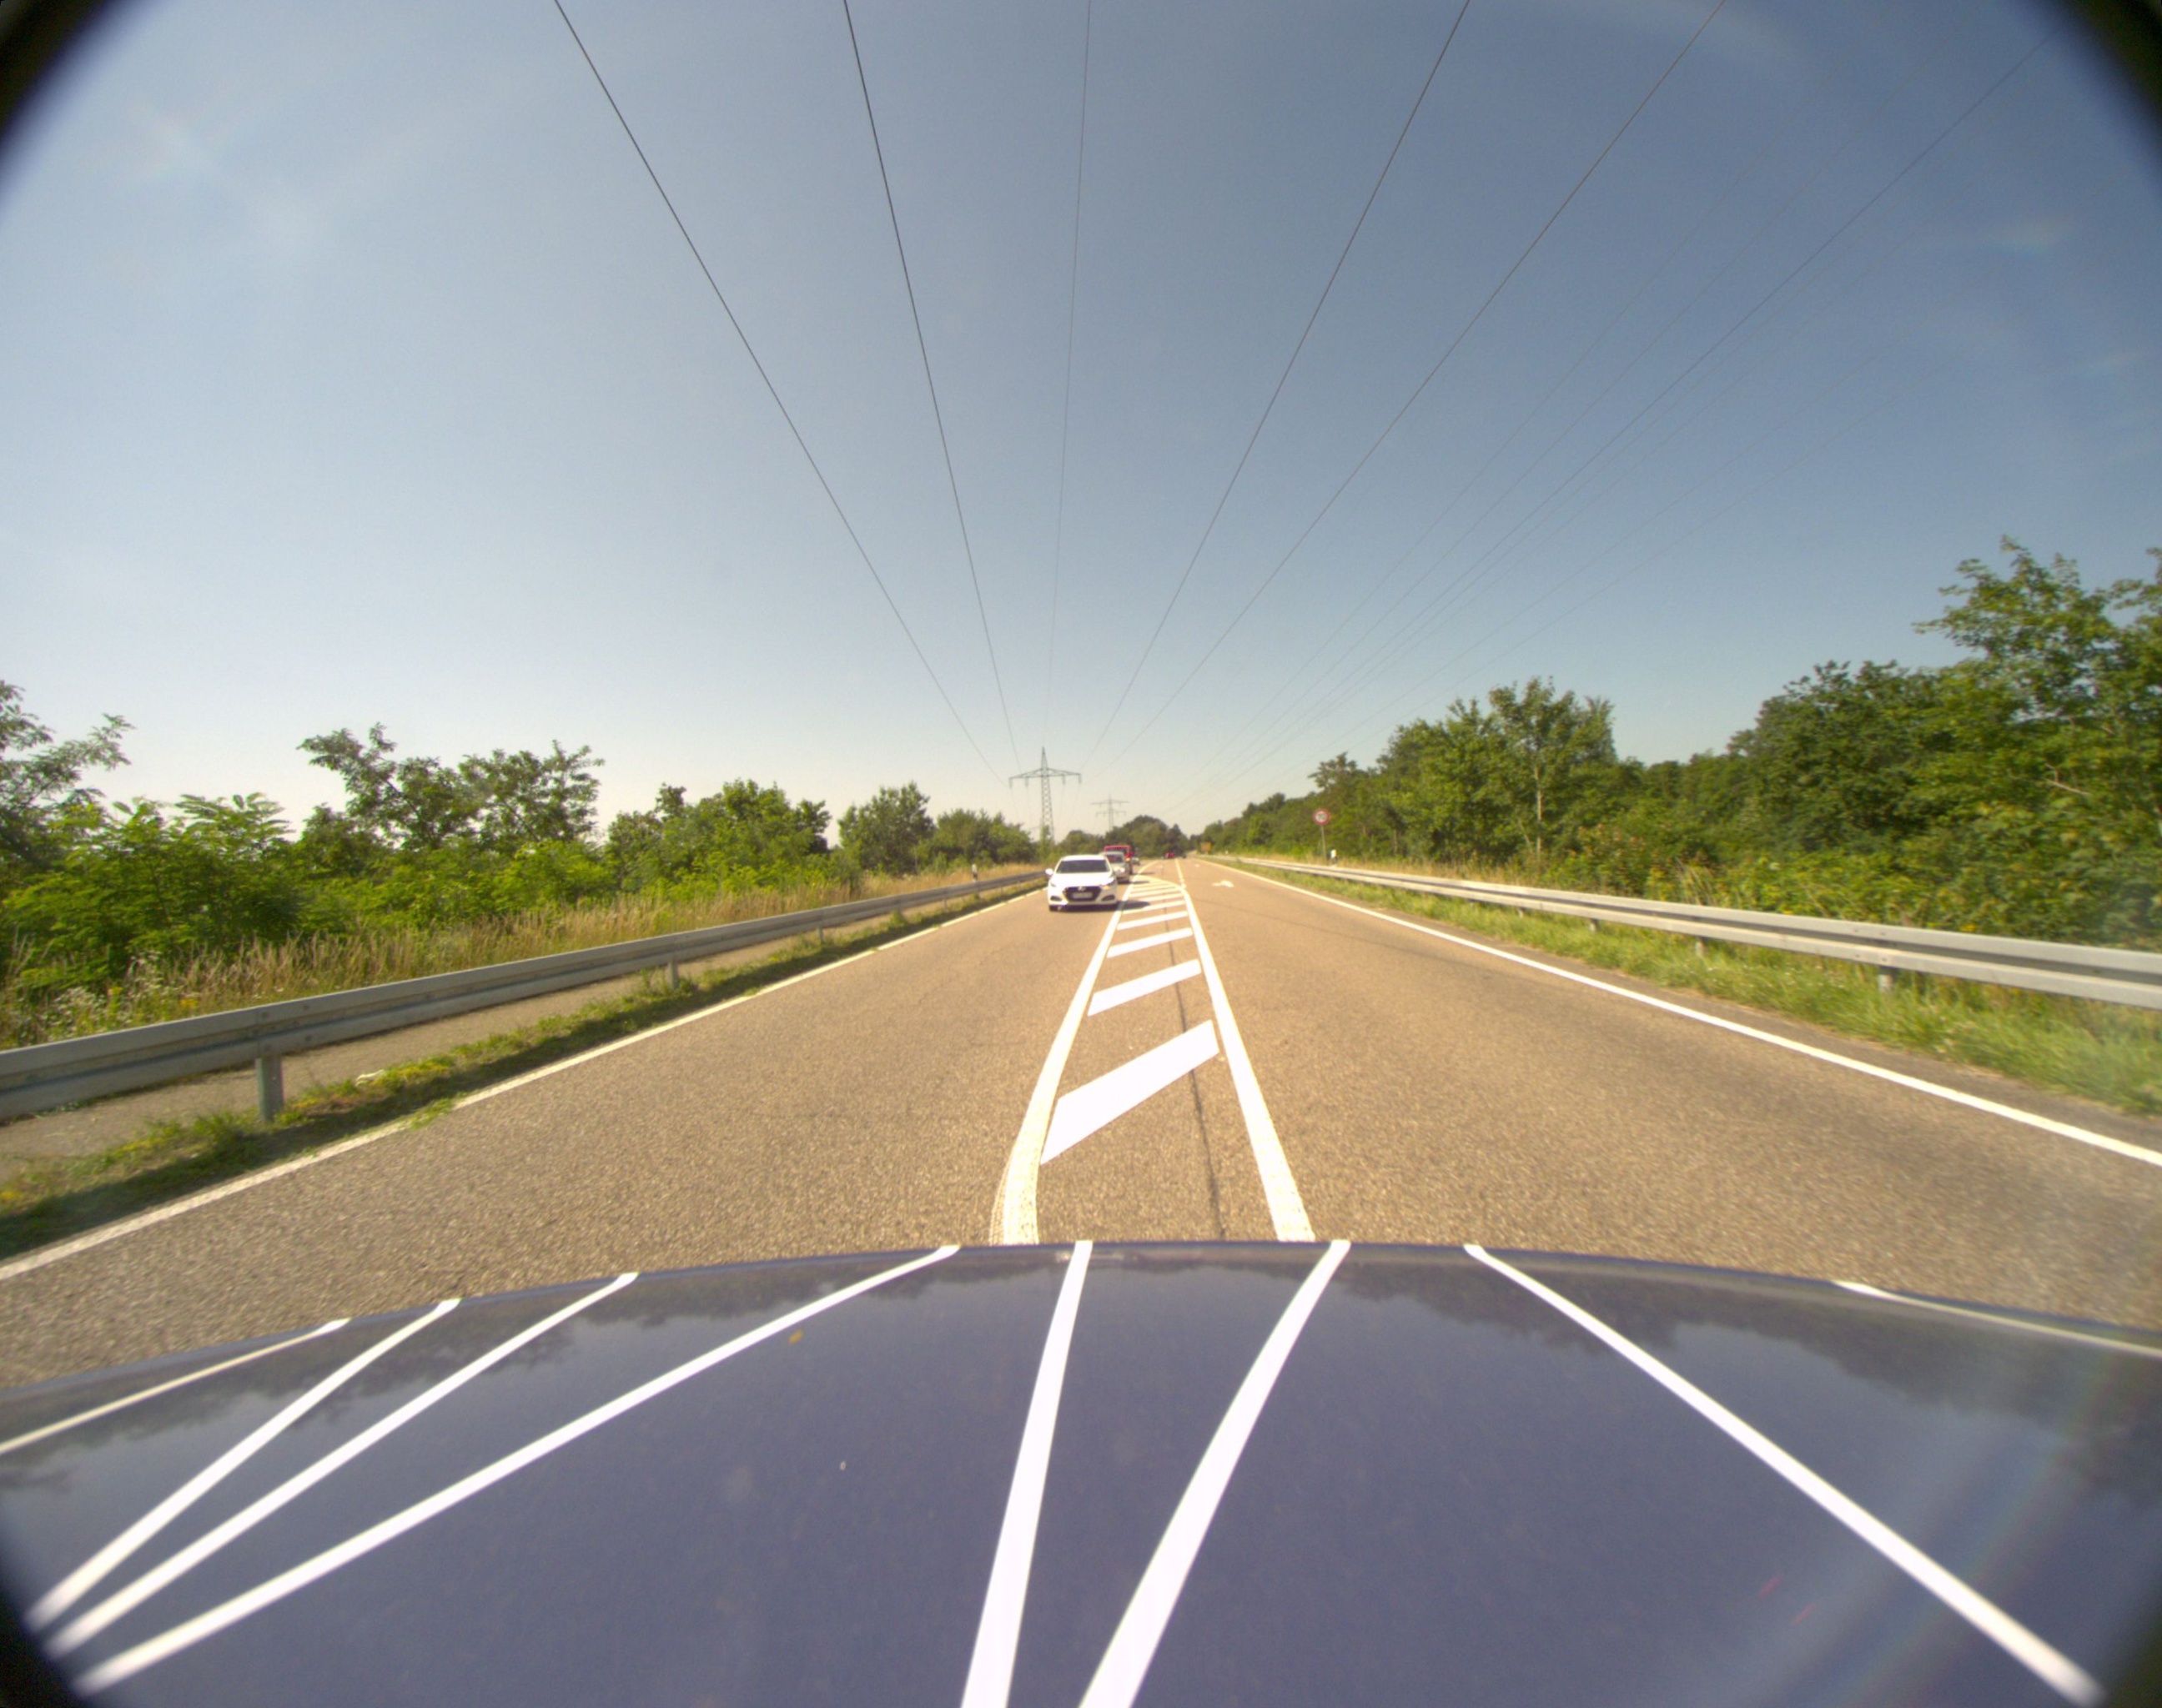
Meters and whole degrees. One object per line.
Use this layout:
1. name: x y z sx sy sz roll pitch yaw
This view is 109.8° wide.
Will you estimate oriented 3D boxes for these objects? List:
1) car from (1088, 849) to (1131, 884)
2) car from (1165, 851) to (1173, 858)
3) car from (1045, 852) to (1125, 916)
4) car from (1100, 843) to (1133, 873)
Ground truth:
1. car: 1.424 0.573 37.691 1.922 1.540 4.794 -2 0 2
2. car: 21.908 0.149 188.331 1.832 1.574 4.001 -1 1 5
3. car: 0.192 0.755 21.335 1.922 1.496 4.794 -2 0 2
4. car: 2.515 0.256 52.616 2.125 1.934 5.020 -2 0 4
